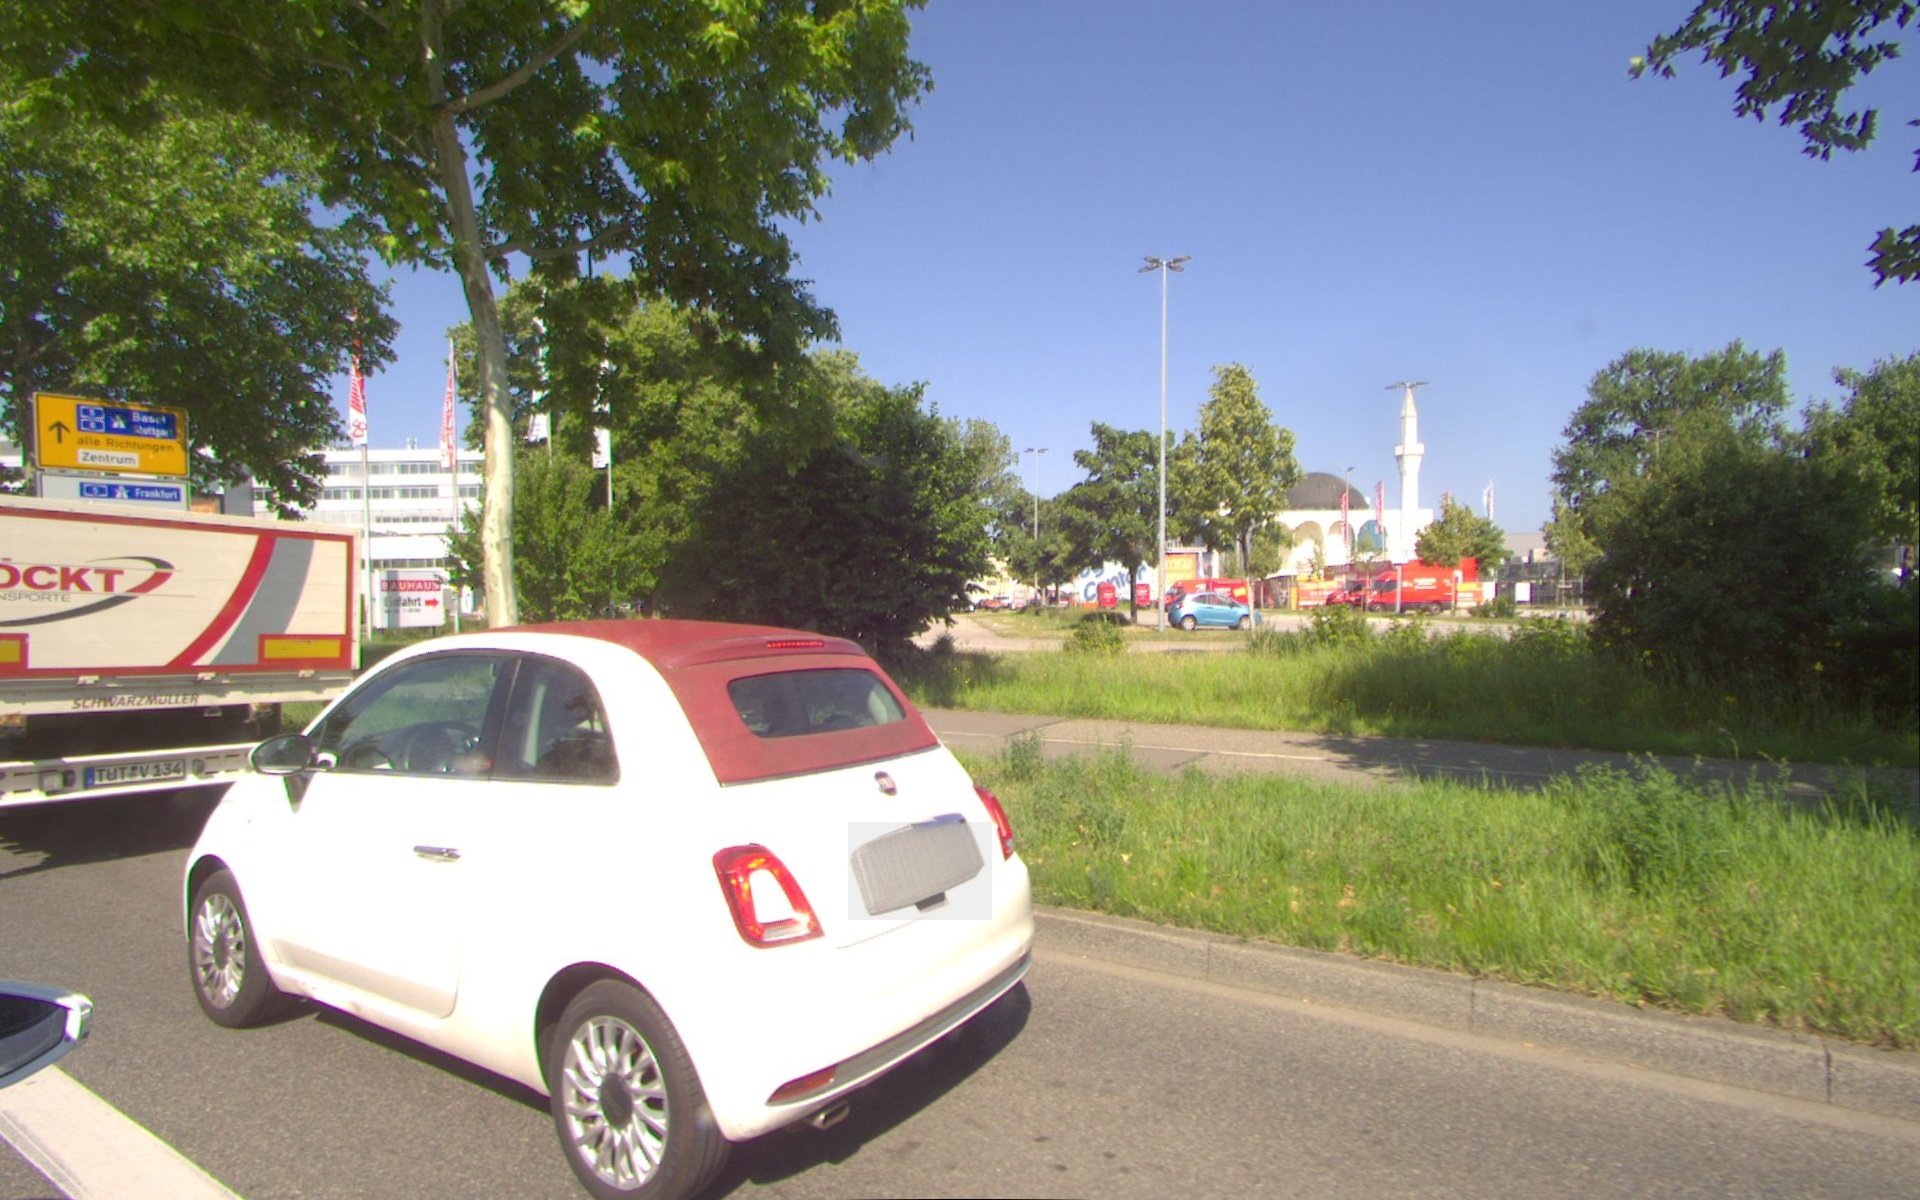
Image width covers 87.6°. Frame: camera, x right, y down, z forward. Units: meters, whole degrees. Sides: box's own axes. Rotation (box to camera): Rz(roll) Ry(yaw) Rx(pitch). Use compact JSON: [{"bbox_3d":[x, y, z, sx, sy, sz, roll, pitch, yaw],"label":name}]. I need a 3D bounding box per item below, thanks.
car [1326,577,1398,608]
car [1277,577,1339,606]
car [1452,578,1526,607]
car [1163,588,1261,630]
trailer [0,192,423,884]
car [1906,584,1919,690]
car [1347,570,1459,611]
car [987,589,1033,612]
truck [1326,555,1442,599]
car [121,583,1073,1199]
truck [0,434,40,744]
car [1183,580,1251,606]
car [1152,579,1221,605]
[{"bbox_3d":[25.752,-0.437,64.271,3.924,1.884,1.999,-1,-1,11],"label":"car"},{"bbox_3d":[25.639,-0.627,73.860,3.922,2.040,2.000,0,-1,2],"label":"car"},{"bbox_3d":[38.322,-0.546,72.568,4.304,2.040,2.000,0,-1,-3],"label":"car"},{"bbox_3d":[9.809,0.370,39.156,3.387,1.591,1.745,0,-1,-2],"label":"car"},{"bbox_3d":[-9.843,-0.213,9.520,12.070,3.789,3.009,-1,-1,33],"label":"trailer"},{"bbox_3d":[15.688,0.565,14.766,1.694,1.718,3.544,-1,-1,30],"label":"car"},{"bbox_3d":[26.763,-0.575,60.667,5.823,2.371,2.115,0,-1,1],"label":"car"},{"bbox_3d":[4.544,0.033,91.757,3.923,2.040,2.000,0,-1,-6],"label":"car"},{"bbox_3d":[32.424,-1.740,76.701,8.067,3.290,2.000,0,-1,-2],"label":"truck"},{"bbox_3d":[-1.503,0.739,3.751,3.472,1.455,1.657,-1,-1,34],"label":"car"},{"bbox_3d":[-15.500,-0.087,13.280,7.370,3.806,3.066,-1,-1,32],"label":"truck"},{"bbox_3d":[19.716,-0.547,76.978,4.824,1.906,1.770,0,-1,2],"label":"car"},{"bbox_3d":[18.654,-0.630,82.634,5.188,2.040,2.000,0,-1,-4],"label":"car"}]
